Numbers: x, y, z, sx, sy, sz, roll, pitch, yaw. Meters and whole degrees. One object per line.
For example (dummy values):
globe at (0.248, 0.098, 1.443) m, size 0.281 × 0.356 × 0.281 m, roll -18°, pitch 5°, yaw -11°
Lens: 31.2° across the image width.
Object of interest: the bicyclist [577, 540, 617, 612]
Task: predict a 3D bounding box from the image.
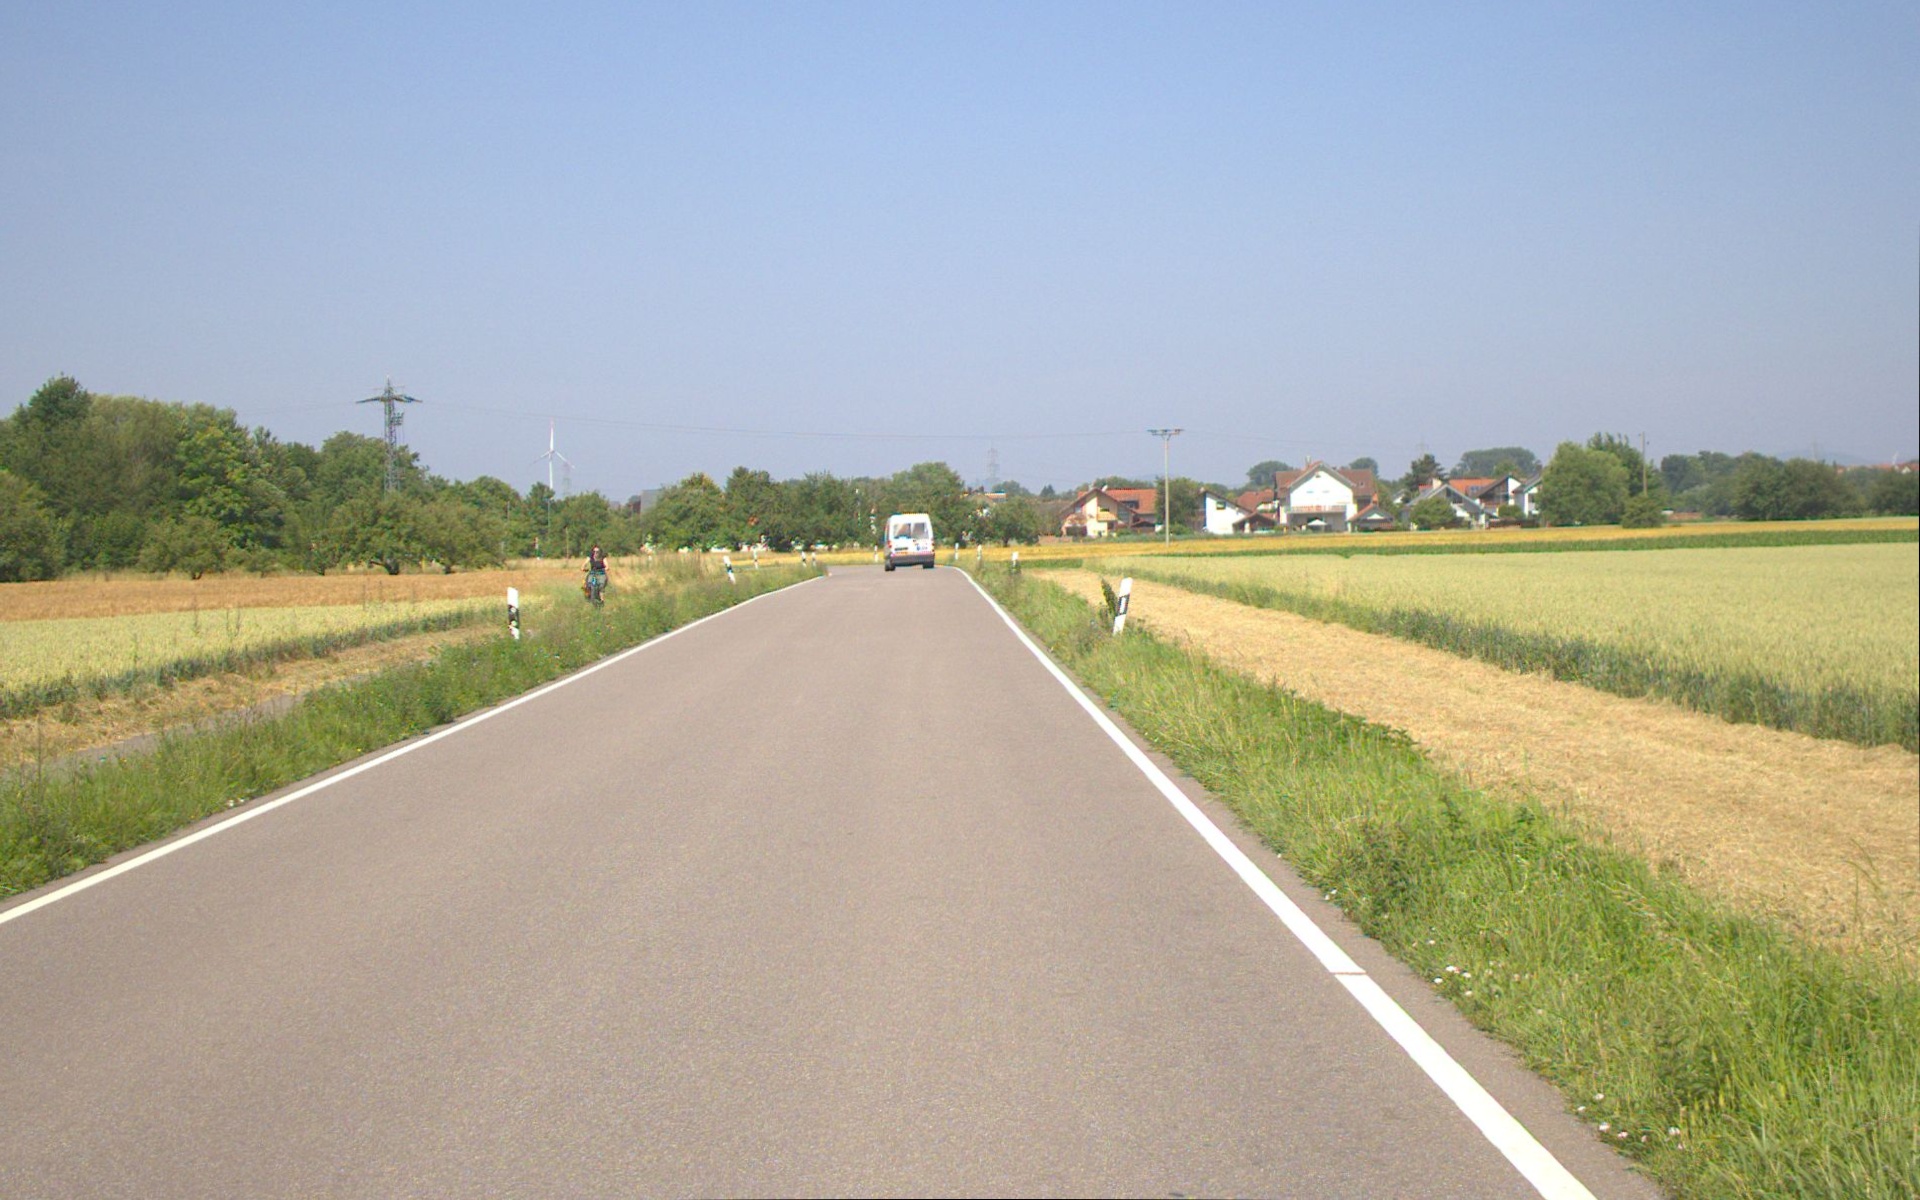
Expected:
bicyclist at (-8.523, -0.568, 80.854) m, size 0.760 × 1.667 × 1.088 m, roll -3°, pitch 1°, yaw -1°

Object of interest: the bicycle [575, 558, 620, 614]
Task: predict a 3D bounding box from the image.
bicycle at (-8.530, -0.337, 80.991) m, size 0.759 × 1.231 × 2.394 m, roll -3°, pitch 1°, yaw -1°

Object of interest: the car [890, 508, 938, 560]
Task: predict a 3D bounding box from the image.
car at (-2.071, -2.975, 155.203) m, size 2.107 × 2.296 × 5.496 m, roll 1°, pitch 1°, yaw -1°
